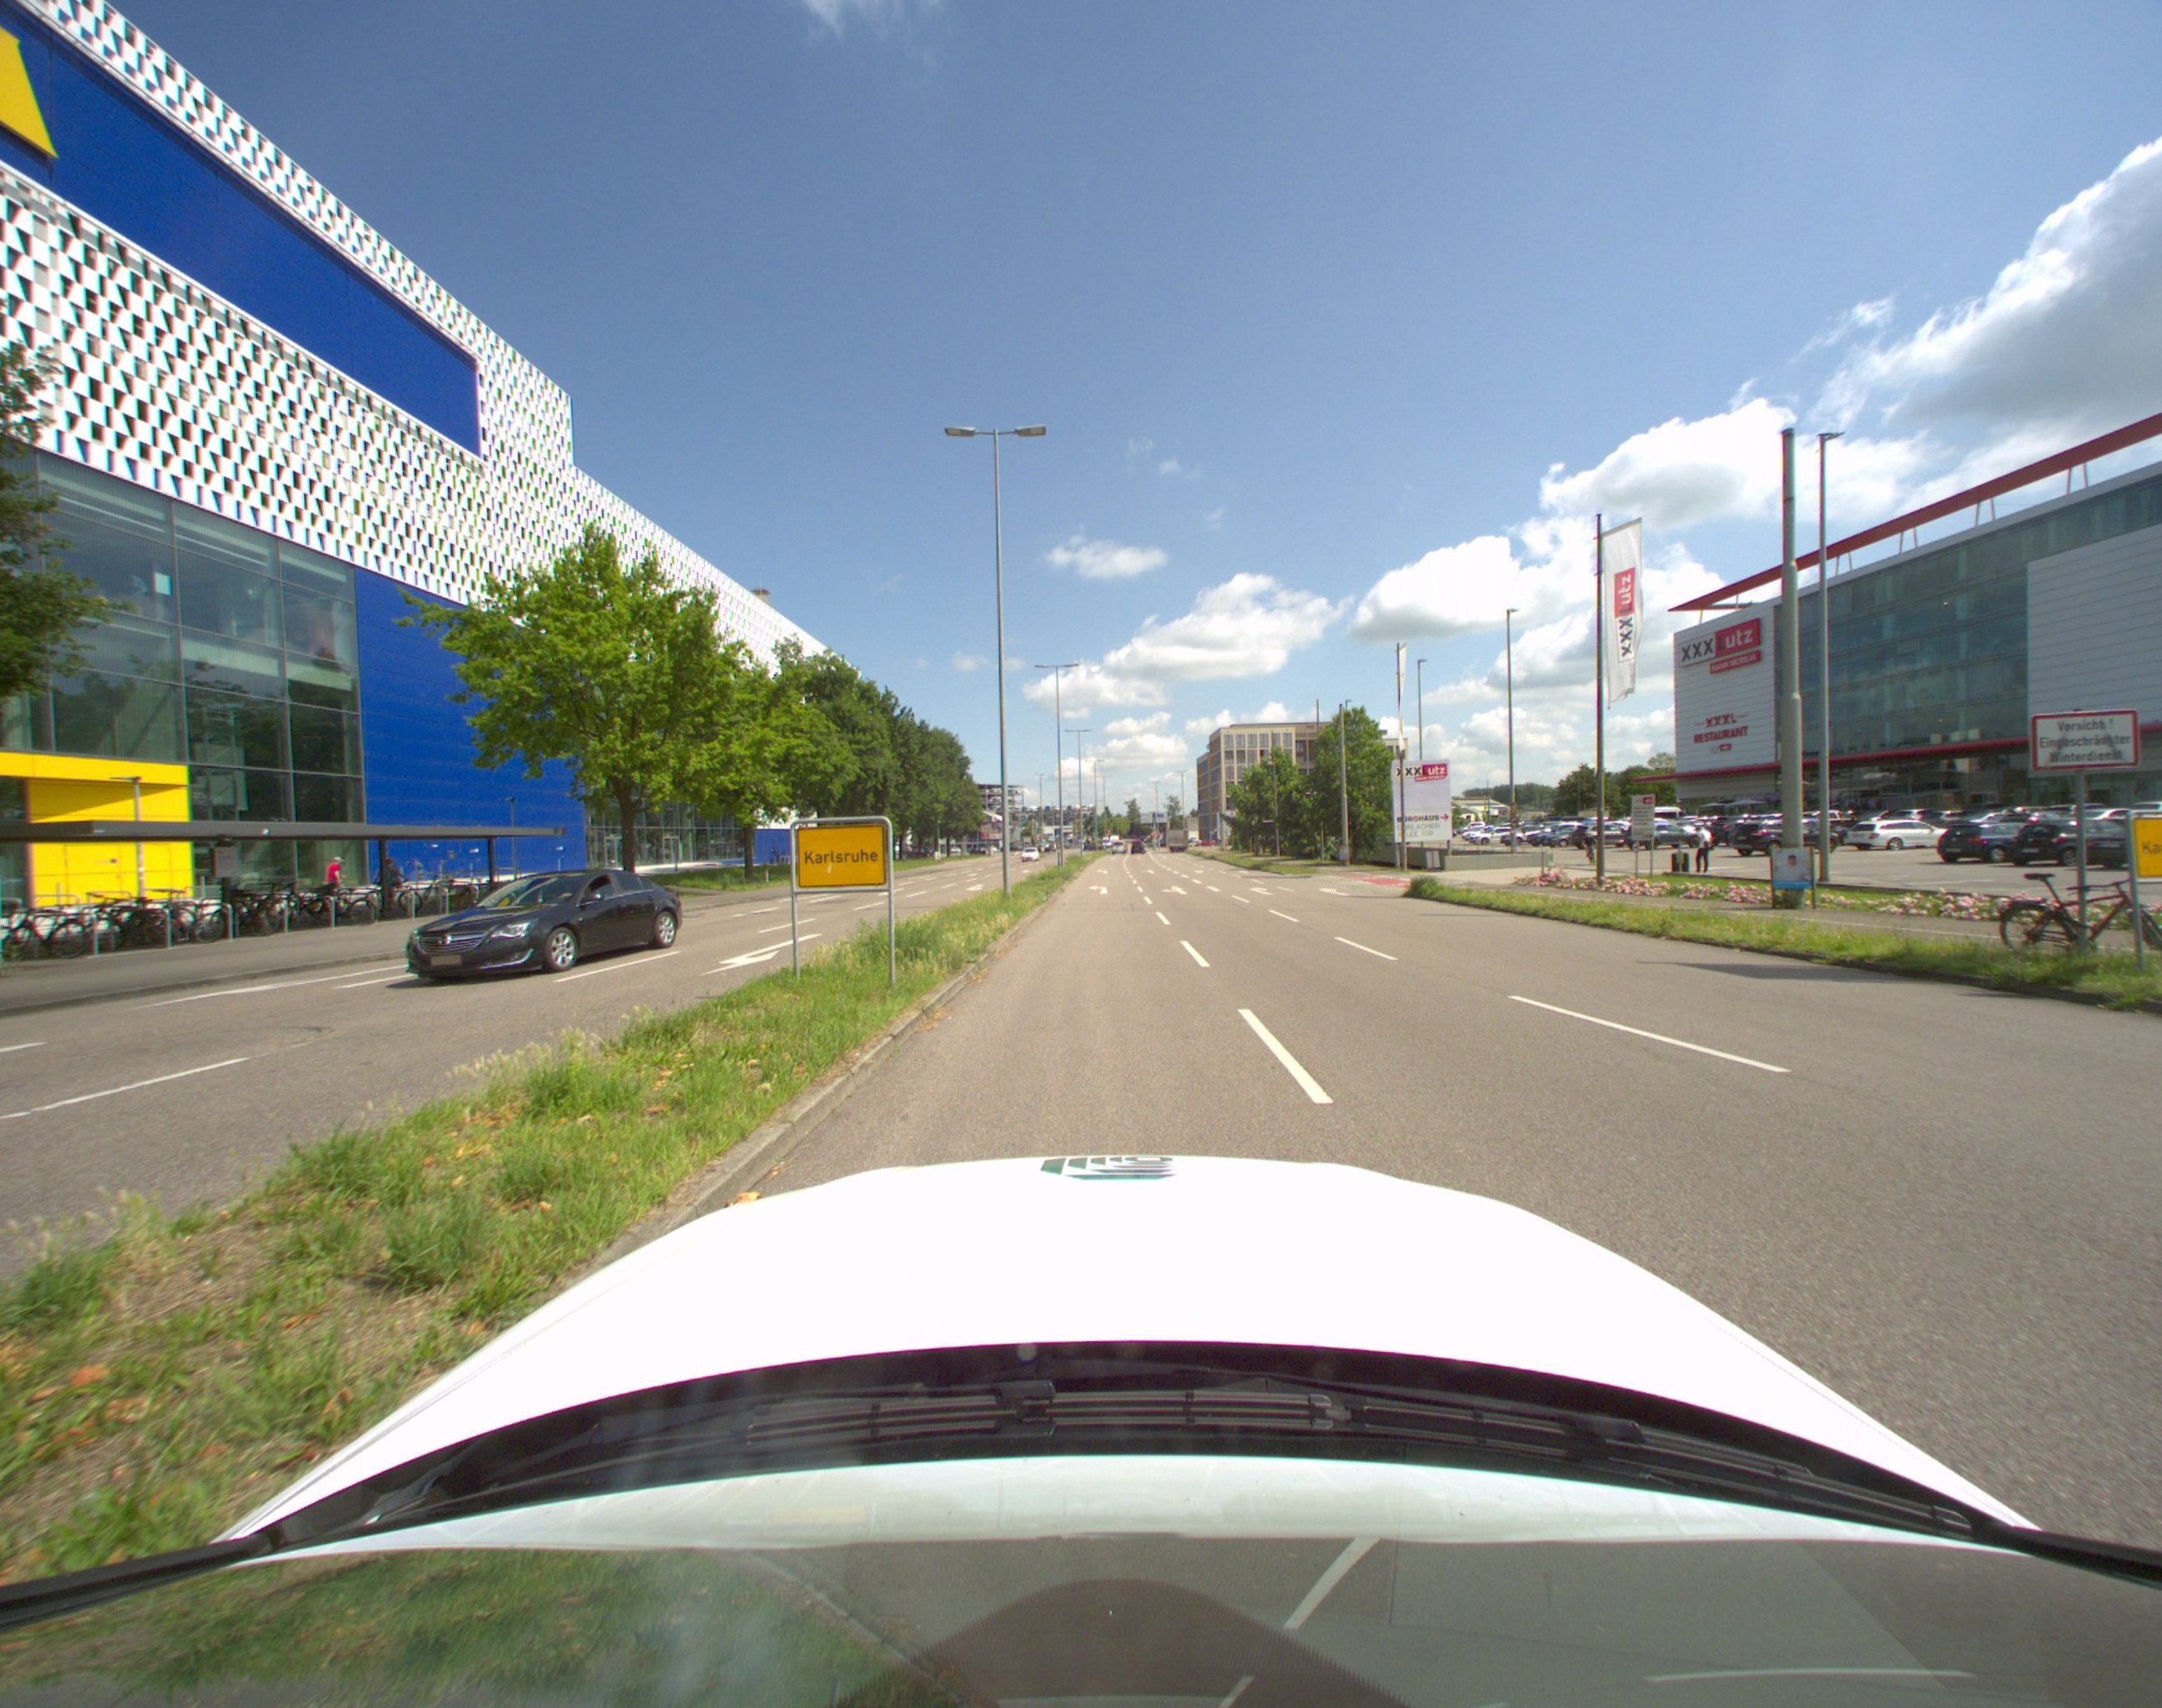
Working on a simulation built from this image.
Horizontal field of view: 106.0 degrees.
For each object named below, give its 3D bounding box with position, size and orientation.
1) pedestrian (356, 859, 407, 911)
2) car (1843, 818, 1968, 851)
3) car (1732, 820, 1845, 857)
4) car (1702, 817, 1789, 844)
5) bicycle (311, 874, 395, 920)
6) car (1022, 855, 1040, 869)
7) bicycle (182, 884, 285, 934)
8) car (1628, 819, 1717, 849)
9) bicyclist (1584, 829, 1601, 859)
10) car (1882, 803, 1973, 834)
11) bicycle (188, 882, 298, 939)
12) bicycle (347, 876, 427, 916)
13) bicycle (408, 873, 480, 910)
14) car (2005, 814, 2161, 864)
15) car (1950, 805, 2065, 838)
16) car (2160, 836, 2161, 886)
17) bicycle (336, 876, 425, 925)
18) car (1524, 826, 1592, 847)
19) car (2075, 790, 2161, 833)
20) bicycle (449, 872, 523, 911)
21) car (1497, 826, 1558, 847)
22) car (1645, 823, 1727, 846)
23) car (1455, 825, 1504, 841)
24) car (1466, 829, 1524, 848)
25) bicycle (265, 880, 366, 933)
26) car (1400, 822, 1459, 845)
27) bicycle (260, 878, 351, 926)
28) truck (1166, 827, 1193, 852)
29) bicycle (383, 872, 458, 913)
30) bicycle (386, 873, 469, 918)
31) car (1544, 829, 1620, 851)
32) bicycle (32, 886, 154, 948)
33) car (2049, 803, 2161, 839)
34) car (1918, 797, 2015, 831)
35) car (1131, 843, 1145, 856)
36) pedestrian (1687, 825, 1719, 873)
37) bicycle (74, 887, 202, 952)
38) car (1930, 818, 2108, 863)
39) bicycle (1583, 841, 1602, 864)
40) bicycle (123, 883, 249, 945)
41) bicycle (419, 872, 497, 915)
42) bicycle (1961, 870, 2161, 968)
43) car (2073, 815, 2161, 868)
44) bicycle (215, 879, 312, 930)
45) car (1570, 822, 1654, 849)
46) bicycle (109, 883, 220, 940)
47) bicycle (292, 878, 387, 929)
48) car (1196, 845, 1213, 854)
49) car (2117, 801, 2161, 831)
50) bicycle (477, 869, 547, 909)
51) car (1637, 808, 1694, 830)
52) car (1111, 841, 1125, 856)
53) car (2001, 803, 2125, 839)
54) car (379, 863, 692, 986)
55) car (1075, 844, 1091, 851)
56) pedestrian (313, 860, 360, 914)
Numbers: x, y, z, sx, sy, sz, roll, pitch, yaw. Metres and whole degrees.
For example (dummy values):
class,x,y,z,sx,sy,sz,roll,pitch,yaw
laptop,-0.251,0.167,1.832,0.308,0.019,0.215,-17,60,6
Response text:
class,x,y,z,sx,sy,sz,roll,pitch,yaw
pedestrian,-23.917,1.051,27.859,0.946,1.702,0.887,-1,0,2
car,40.246,-0.948,39.821,4.273,1.427,1.760,-2,2,2
car,34.500,-0.760,39.772,4.043,1.531,1.741,-3,0,-2
car,41.044,-1.456,50.354,3.973,1.464,1.728,-3,1,0
bicycle,-21.683,1.273,24.279,1.918,1.272,0.630,-1,1,1
car,-5.443,0.884,88.913,1.637,1.429,3.670,-3,0,1
bicycle,-21.558,1.395,20.737,1.918,1.183,0.630,-1,1,1
car,36.339,-1.230,50.070,4.168,1.552,1.765,-3,1,0
bicyclist,24.674,-0.488,39.314,0.609,1.412,0.719,-2,1,28
car,56.883,-2.372,54.782,3.972,2.013,2.001,-1,1,1
bicycle,-19.771,1.324,19.234,1.918,1.272,0.630,-1,1,1
bicycle,-21.660,1.301,25.436,1.918,1.179,0.630,-1,1,1
bicycle,-21.697,1.264,27.741,1.918,1.183,0.630,-1,1,1
car,34.807,-0.534,27.870,4.340,1.442,1.628,-3,2,3
car,50.638,-1.766,44.570,4.211,1.587,1.853,-3,1,0
car,24.066,0.323,15.512,4.340,1.476,1.858,-2,0,3
bicycle,-19.645,1.291,22.859,1.918,1.272,0.630,-1,1,1
car,36.489,-1.353,62.406,4.168,1.325,1.689,-3,1,1
car,40.133,-1.580,30.233,4.133,1.508,1.827,-1,1,2
bicycle,-19.478,1.215,26.667,1.918,1.183,0.630,-1,1,1
car,37.044,-1.444,67.617,3.975,1.571,2.000,-1,0,-1
car,40.702,-1.328,54.817,4.225,1.464,1.761,-1,1,0
car,41.330,-2.194,84.452,4.168,1.434,1.727,-3,1,1
car,36.810,-1.372,72.488,4.172,1.389,1.892,-3,1,-1
bicycle,-19.438,1.321,20.700,1.918,1.272,0.630,-1,1,1
car,38.609,-2.276,90.278,5.640,2.366,2.061,-1,0,0
bicycle,-21.712,1.337,22.819,1.918,1.272,0.630,-1,1,1
truck,15.990,-2.382,131.554,3.106,3.940,8.895,-1,1,15
bicycle,-21.651,1.248,26.698,1.918,1.272,0.630,-1,1,1
bicycle,-19.442,1.233,24.247,1.918,1.272,0.630,-1,1,1
car,36.276,-1.037,59.039,4.344,1.325,1.765,-3,1,0
bicycle,-21.960,1.397,18.114,1.918,1.272,0.630,-1,1,1
car,49.885,-1.604,39.431,4.142,1.511,1.705,-3,1,-2
car,56.311,-2.540,51.838,3.972,2.013,2.001,-1,1,1
car,8.253,-0.634,117.868,1.810,1.808,4.008,0,1,7
pedestrian,23.509,-0.209,30.787,0.861,1.782,0.789,-1,1,32
bicycle,-19.795,1.361,17.117,1.918,1.272,0.630,-1,1,1
car,34.650,-0.507,30.179,4.340,1.362,1.849,-3,2,3
bicycle,24.725,-0.082,39.390,0.617,1.067,1.980,-2,1,28
bicycle,-19.928,1.329,18.145,2.081,1.272,0.630,-1,1,1
bicycle,-19.509,1.221,25.514,1.918,1.272,0.630,-1,1,1
bicycle,10.833,0.671,9.025,0.515,0.952,1.544,-1,0,2
car,34.159,-0.468,25.327,4.340,1.508,1.684,-3,0,3
bicycle,-21.886,1.352,21.813,1.918,1.272,0.630,-1,1,1
car,35.899,-1.246,55.159,4.344,1.574,2.030,-3,1,0
bicycle,-21.857,1.365,19.435,1.918,1.272,0.630,-1,1,1
bicycle,-19.746,1.319,21.712,1.918,1.272,0.630,-1,1,1
car,25.247,-0.907,166.211,3.260,1.405,1.335,-1,9,1
car,56.155,-1.978,41.567,4.324,1.511,1.706,-1,1,1
bicycle,-19.397,1.188,27.781,1.918,1.272,0.630,-1,1,1
car,56.085,-3.378,78.182,3.971,1.951,2.001,-1,1,2
car,5.337,-0.784,117.322,1.848,2.018,4.003,-1,1,2
car,50.606,-1.706,42.030,4.211,1.587,1.853,-3,1,0
car,-8.059,0.923,12.681,1.657,1.421,4.520,-4,0,1
car,0.535,-1.750,213.511,3.977,1.925,1.825,-1,0,-3
pedestrian,-25.632,1.114,28.044,0.751,1.822,0.887,-1,0,2
